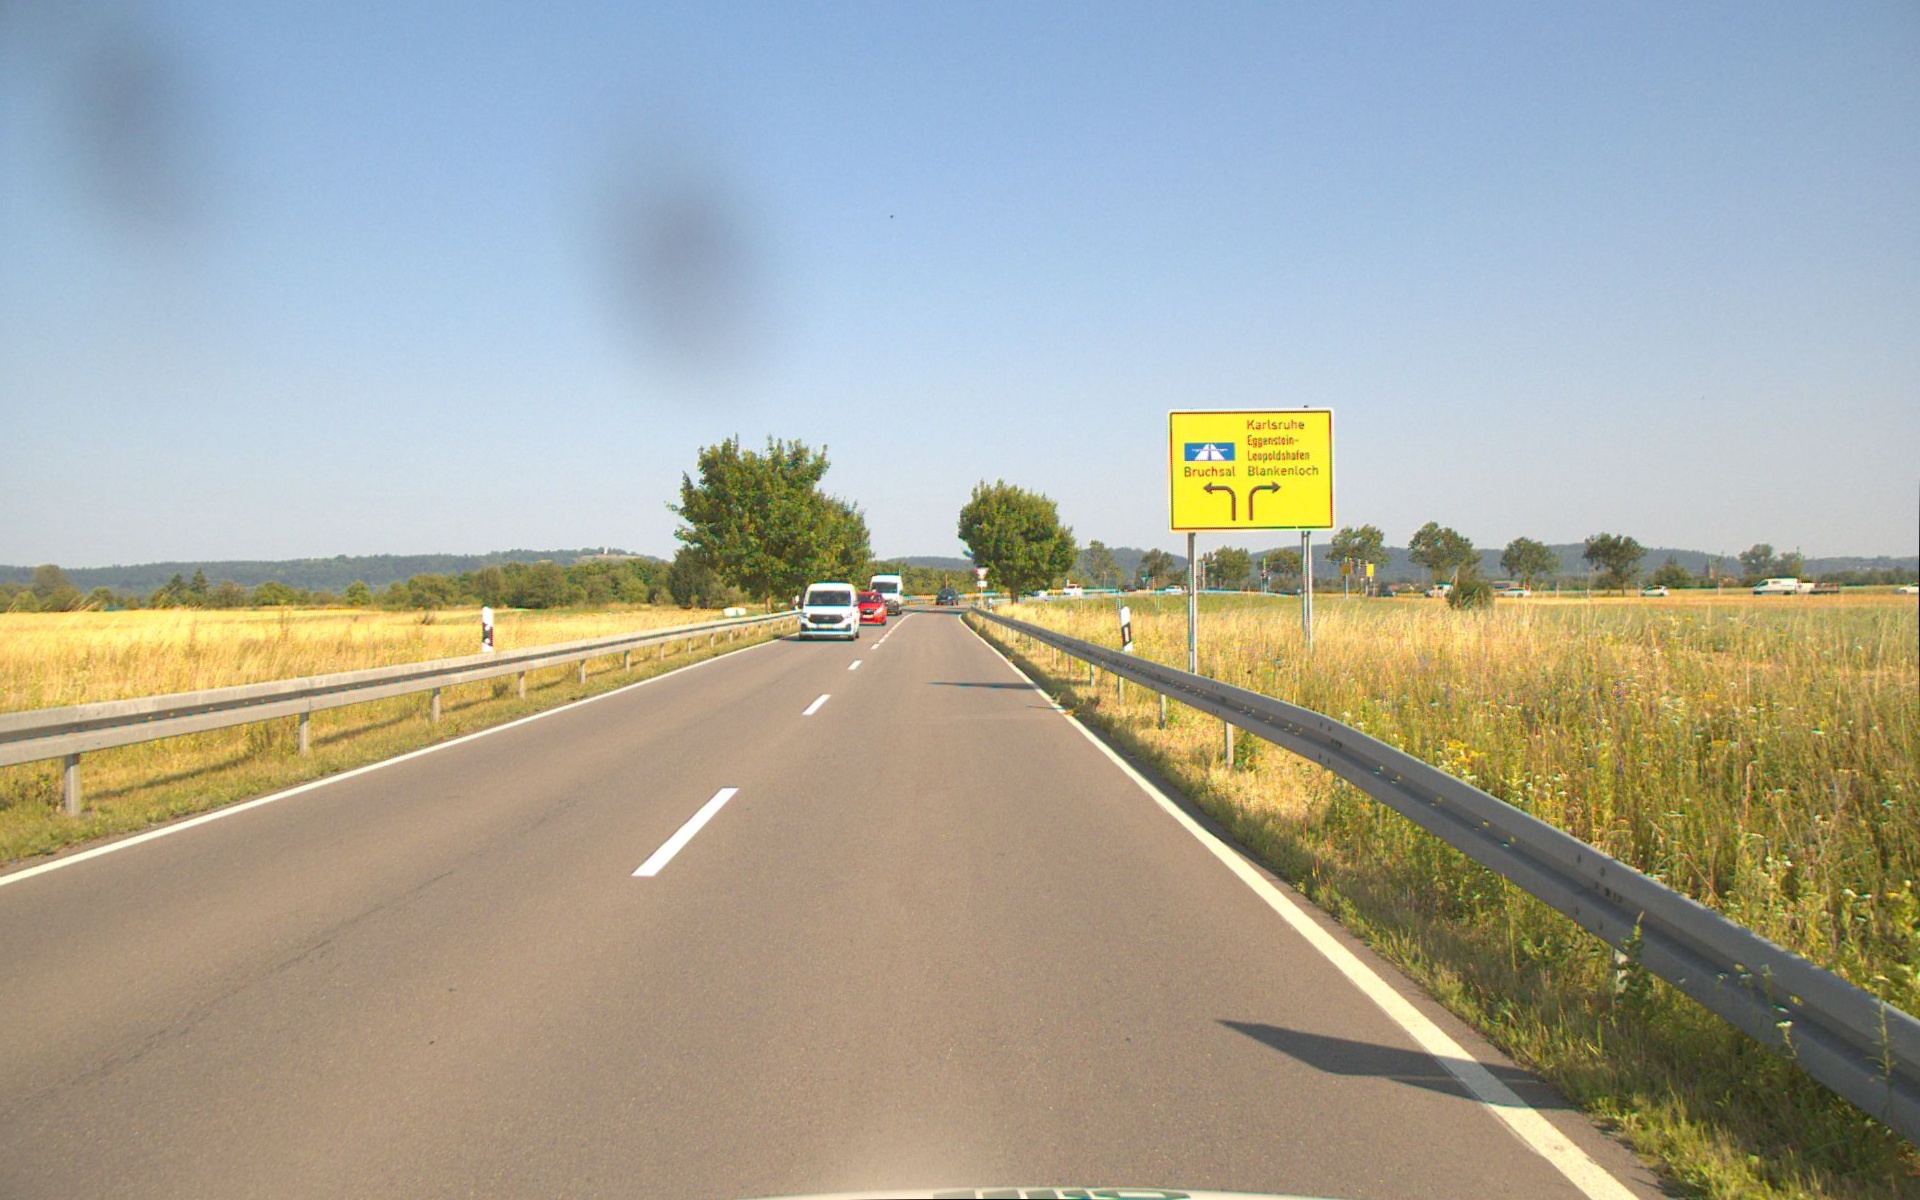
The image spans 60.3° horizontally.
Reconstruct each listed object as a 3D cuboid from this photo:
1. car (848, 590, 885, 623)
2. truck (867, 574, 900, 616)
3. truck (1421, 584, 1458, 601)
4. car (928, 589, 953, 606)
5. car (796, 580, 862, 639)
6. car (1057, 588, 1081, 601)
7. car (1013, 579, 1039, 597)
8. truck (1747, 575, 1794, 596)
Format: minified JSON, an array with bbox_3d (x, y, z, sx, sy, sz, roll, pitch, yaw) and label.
[{"bbox_3d":[-4.330,0.278,77.014,1.574,1.514,3.779,0,0,-1],"label":"car"},{"bbox_3d":[-4.886,-0.325,106.099,1.953,2.564,6.242,0,0,-1],"label":"truck"},{"bbox_3d":[72.372,-1.126,249.674,4.978,2.573,1.987,0,-1,43],"label":"truck"},{"bbox_3d":[-1.724,-0.235,149.792,1.609,1.497,3.810,1,0,10],"label":"car"},{"bbox_3d":[-4.210,0.266,53.626,1.799,1.818,4.434,0,0,-1],"label":"car"},{"bbox_3d":[13.368,-0.620,202.859,1.862,1.559,4.594,1,0,18],"label":"car"},{"bbox_3d":[7.475,-1.334,187.077,1.951,1.917,4.595,1,0,15],"label":"car"},{"bbox_3d":[110.407,-1.968,225.171,5.479,2.742,3.286,1,-1,32],"label":"truck"}]
